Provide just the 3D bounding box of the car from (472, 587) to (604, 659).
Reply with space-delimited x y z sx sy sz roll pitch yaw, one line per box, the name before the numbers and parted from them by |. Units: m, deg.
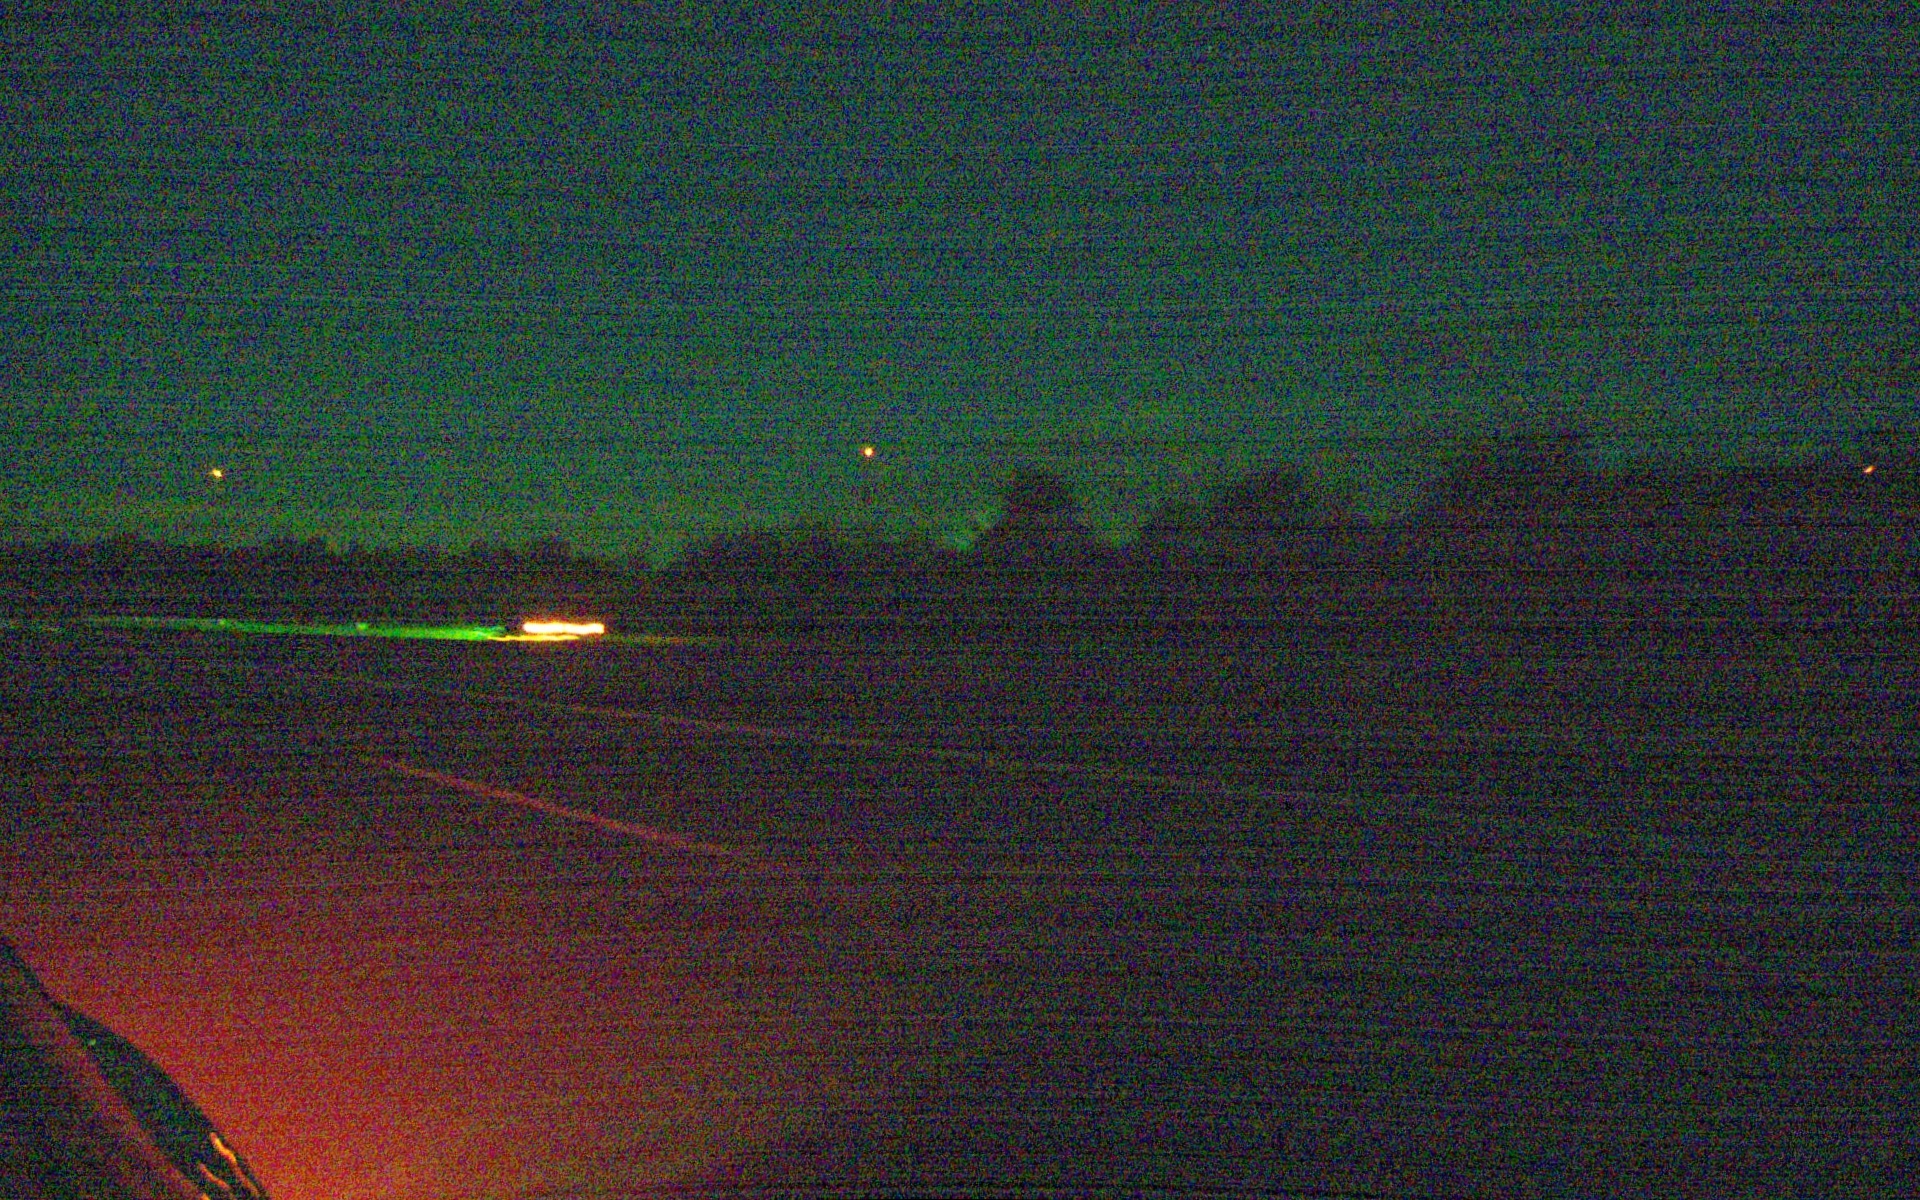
car | -18.884 0.956 45.112 6.599 2.959 2.817 -1 0 41
